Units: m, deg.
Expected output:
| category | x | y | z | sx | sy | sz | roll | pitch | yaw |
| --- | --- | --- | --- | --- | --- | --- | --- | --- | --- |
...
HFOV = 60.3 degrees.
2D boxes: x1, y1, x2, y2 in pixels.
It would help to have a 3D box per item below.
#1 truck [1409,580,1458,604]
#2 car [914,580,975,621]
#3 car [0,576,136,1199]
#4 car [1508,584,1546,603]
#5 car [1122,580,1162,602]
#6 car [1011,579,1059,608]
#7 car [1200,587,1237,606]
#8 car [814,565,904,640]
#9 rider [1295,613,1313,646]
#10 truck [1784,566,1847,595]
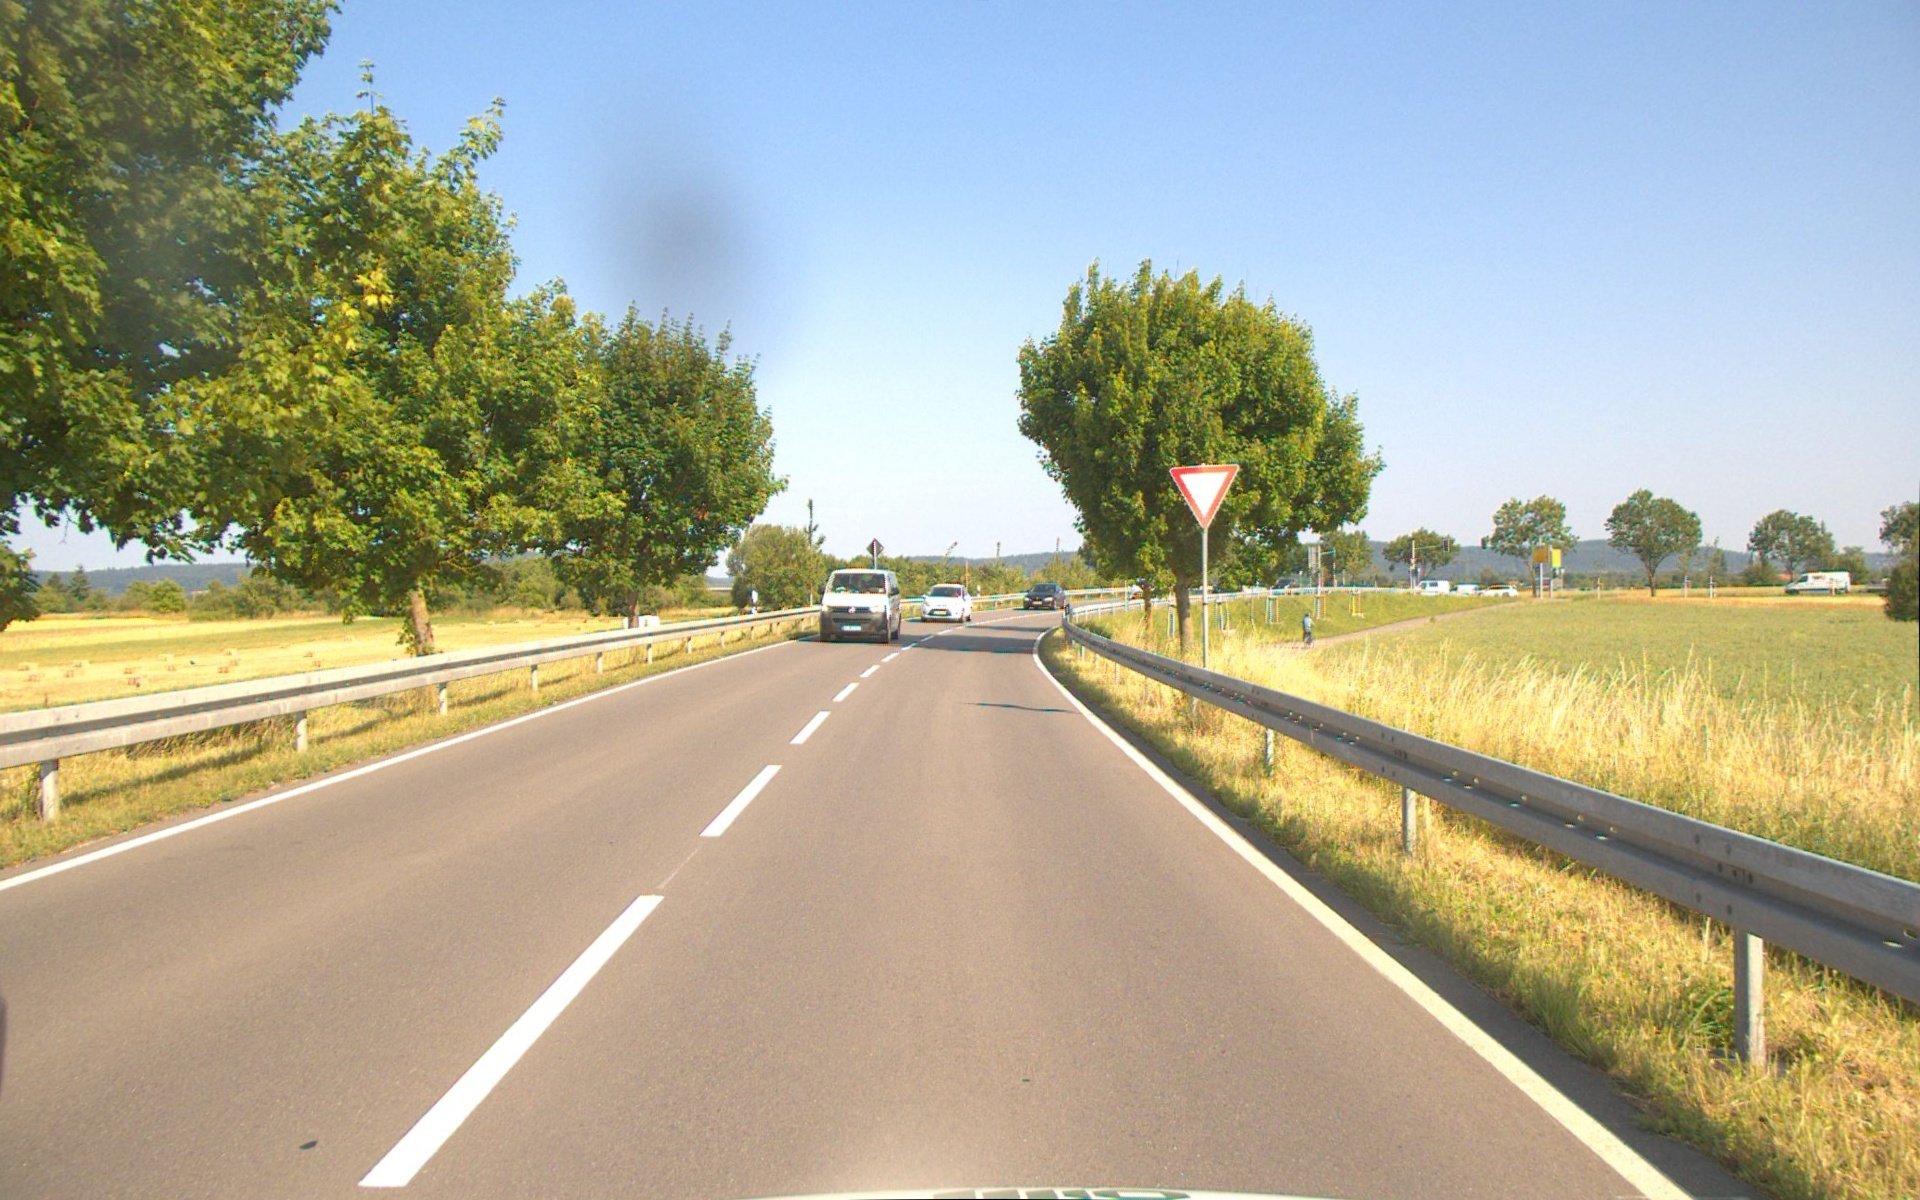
| category | x | y | z | sx | sy | sz | roll | pitch | yaw |
| --- | --- | --- | --- | --- | --- | --- | --- | --- | --- |
| truck | 53.366 | -0.927 | 186.413 | 4.944 | 2.573 | 2.001 | 1 | -1 | 5 |
| car | -0.569 | -0.004 | 65.790 | 1.862 | 1.559 | 4.595 | 1 | 0 | 7 |
| car | -2.751 | 0.700 | 2.036 | 1.611 | 1.497 | 3.806 | 0 | 0 | -1 |
| car | 63.120 | -0.760 | 184.160 | 3.903 | 2.049 | 2.001 | 1 | -1 | 17 |
| car | 13.249 | -0.659 | 120.461 | 1.952 | 1.559 | 4.593 | 1 | 0 | 19 |
| car | 4.205 | -0.357 | 91.947 | 1.951 | 1.559 | 4.595 | 1 | 0 | 11 |
| car | 22.027 | -0.338 | 140.763 | 1.953 | 1.559 | 4.589 | 1 | 0 | 24 |
| car | -2.705 | 0.038 | 45.252 | 1.952 | 1.917 | 4.593 | 1 | 0 | 3 |
| rider | 16.901 | 1.449 | 81.189 | 0.596 | 1.554 | 1.826 | 0 | -1 | 21 |
| truck | 85.821 | -1.947 | 165.915 | 5.479 | 2.742 | 3.286 | 0 | -1 | 32 |
